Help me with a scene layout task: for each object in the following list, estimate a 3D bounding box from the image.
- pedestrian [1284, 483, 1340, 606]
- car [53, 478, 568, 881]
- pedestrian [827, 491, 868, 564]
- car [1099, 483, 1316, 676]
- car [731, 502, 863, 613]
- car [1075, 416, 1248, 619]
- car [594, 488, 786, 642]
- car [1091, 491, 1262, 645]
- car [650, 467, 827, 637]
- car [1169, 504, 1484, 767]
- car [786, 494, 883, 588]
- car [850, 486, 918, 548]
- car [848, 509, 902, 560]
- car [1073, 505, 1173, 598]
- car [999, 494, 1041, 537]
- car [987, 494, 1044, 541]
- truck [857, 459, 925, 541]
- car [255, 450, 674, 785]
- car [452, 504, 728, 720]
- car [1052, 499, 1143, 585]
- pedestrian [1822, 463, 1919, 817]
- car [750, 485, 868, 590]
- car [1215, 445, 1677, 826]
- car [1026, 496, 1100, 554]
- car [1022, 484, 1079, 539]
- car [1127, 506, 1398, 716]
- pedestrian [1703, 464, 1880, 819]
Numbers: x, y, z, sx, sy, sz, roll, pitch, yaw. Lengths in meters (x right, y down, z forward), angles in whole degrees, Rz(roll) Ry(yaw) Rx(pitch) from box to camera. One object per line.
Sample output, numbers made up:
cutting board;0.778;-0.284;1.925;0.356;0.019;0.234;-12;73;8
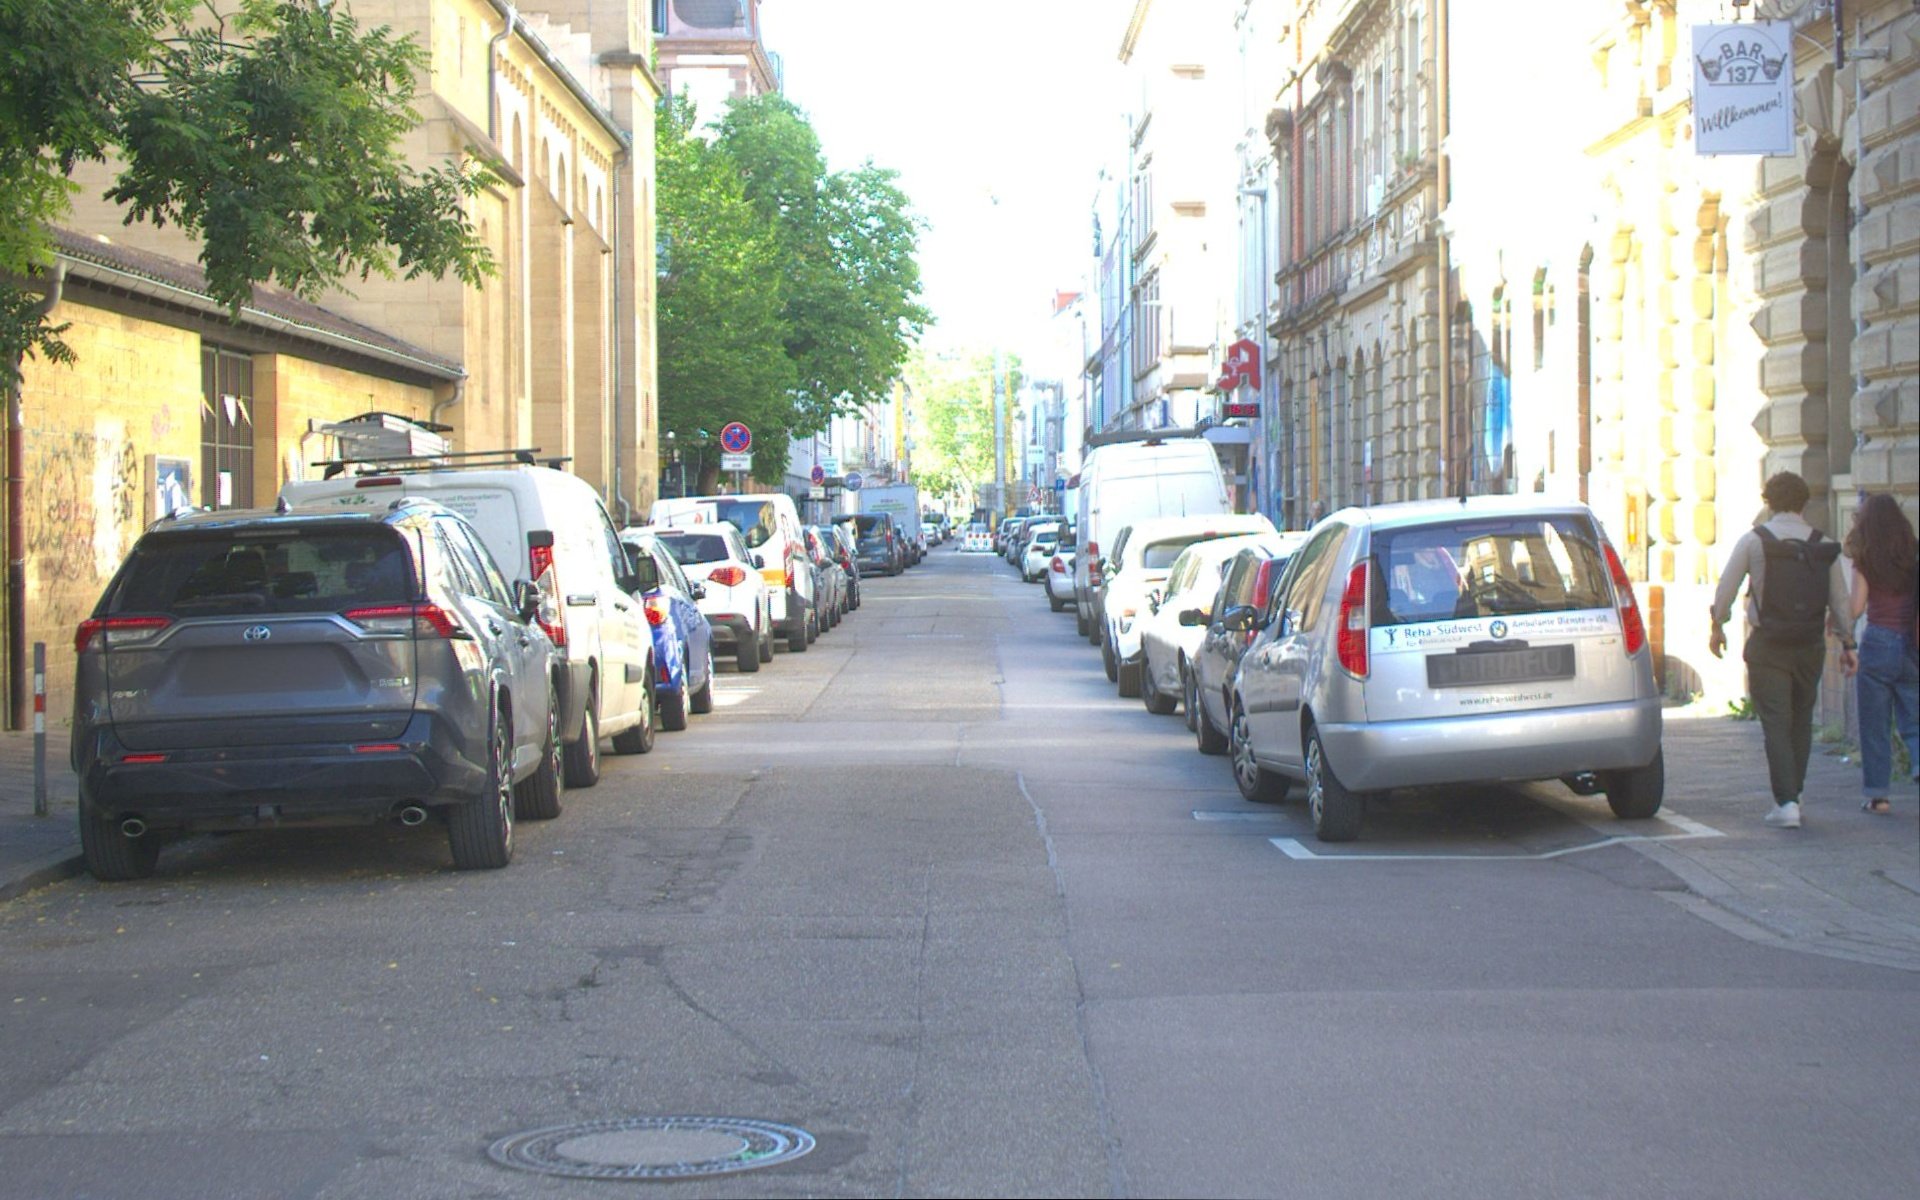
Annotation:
pedestrian;5.114;-0.809;49.919;0.640;1.766;0.678;1;1;21
car;-2.937;0.260;16.418;1.740;1.641;4.290;-1;2;-2
pedestrian;-2.869;-1.856;87.846;0.783;1.837;1.011;0;2;15
car;2.283;-0.229;32.672;1.808;1.684;4.214;1;1;1
car;-2.303;-0.641;49.376;1.615;1.446;3.950;-3;2;1
car;2.679;-1.160;47.045;2.068;2.602;5.888;0;2;1
car;-2.886;-0.421;37.474;1.742;1.580;3.869;0;2;1
car;2.396;-0.407;38.812;1.687;1.637;3.925;-1;2;0
car;-2.738;-0.641;43.377;1.864;1.950;4.611;-3;2;0
car;2.307;0.162;22.425;1.535;1.508;3.682;-2;2;-1
car;-2.318;-1.121;64.197;1.600;1.608;3.809;-3;2;0
car;-2.274;-2.515;103.758;1.875;1.790;4.000;-1;2;1
car;-3.119;-2.402;125.345;1.875;1.790;4.001;-1;2;-2
car;2.722;-0.846;57.835;1.570;1.490;3.653;1;2;1
car;2.916;-4.139;167.970;1.993;2.006;4.000;-1;2;1
car;2.016;-3.045;125.903;1.993;1.626;4.000;2;2;1
truck;-2.806;-4.144;141.962;2.532;3.270;6.995;-1;2;1
car;-2.976;0.017;21.587;1.845;1.856;4.465;-1;2;1
car;-2.833;0.037;27.037;1.687;1.471;3.861;-3;2;0
car;2.506;-1.090;63.259;1.604;1.499;4.000;0;2;2
pedestrian;4.478;0.168;16.224;0.574;1.616;0.734;-2;2;-1
car;-2.355;-1.012;54.414;1.673;1.553;4.000;-2;2;0
car;2.397;0.100;17.861;1.703;1.708;3.938;-2;2;-1
car;2.716;-2.008;91.450;1.897;1.482;3.870;-1;2;1
car;2.927;-2.895;112.198;1.769;1.735;4.000;-1;2;1
car;2.352;0.028;27.612;1.572;1.520;3.909;1;2;-4
pedestrian;3.878;0.177;16.061;0.591;1.598;0.727;-2;2;-1
